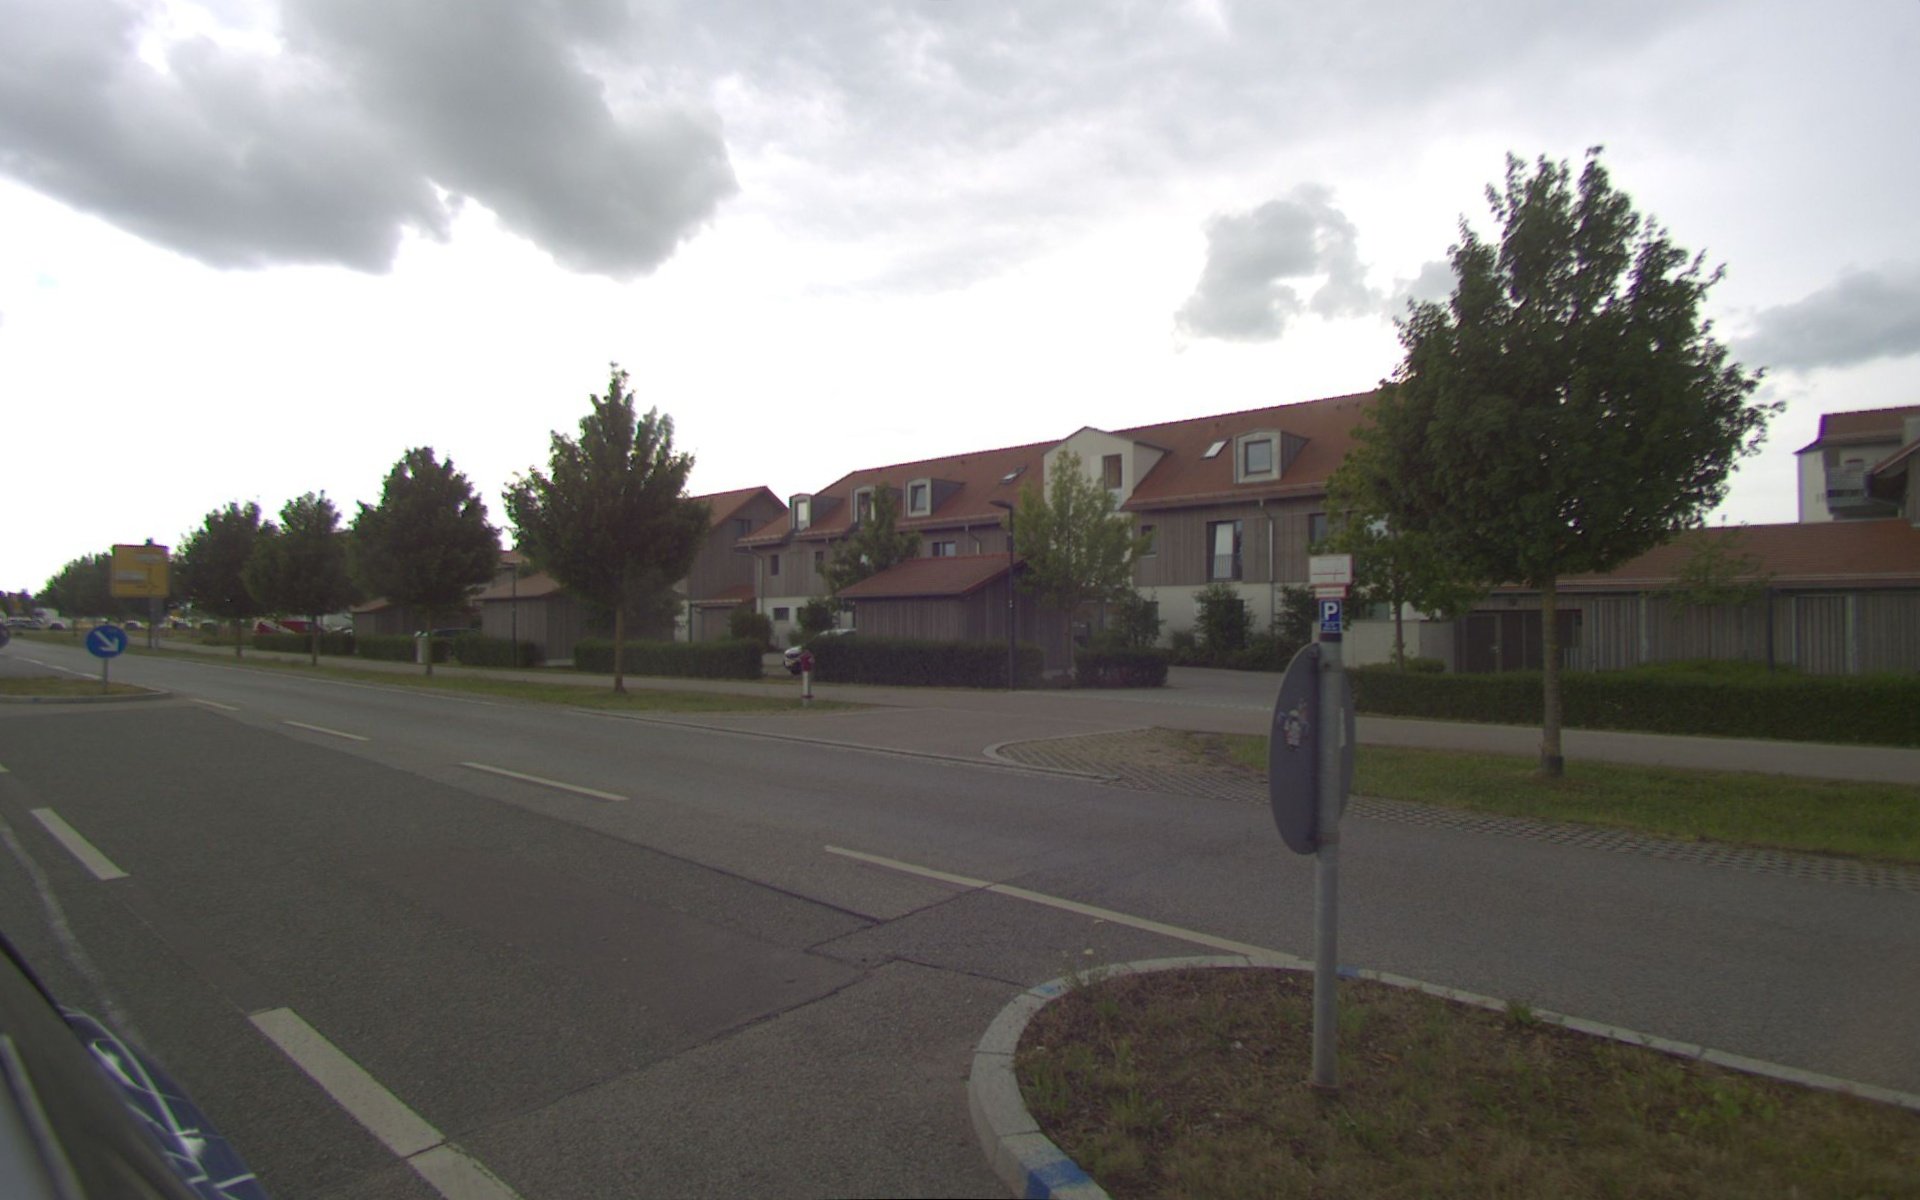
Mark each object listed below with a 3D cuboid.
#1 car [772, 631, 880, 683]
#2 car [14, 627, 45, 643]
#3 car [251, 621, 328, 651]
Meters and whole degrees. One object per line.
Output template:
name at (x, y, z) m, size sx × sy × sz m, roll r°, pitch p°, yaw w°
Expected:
car at (-4.378, 1.840, 33.390) m, size 1.300 × 1.450 × 3.546 m, roll 0°, pitch 1°, yaw 41°
car at (-110.709, 4.175, 120.399) m, size 3.991 × 1.796 × 1.976 m, roll 0°, pitch 0°, yaw 36°
car at (-50.268, 2.645, 75.954) m, size 4.505 × 2.029 × 2.002 m, roll -1°, pitch 1°, yaw -44°
